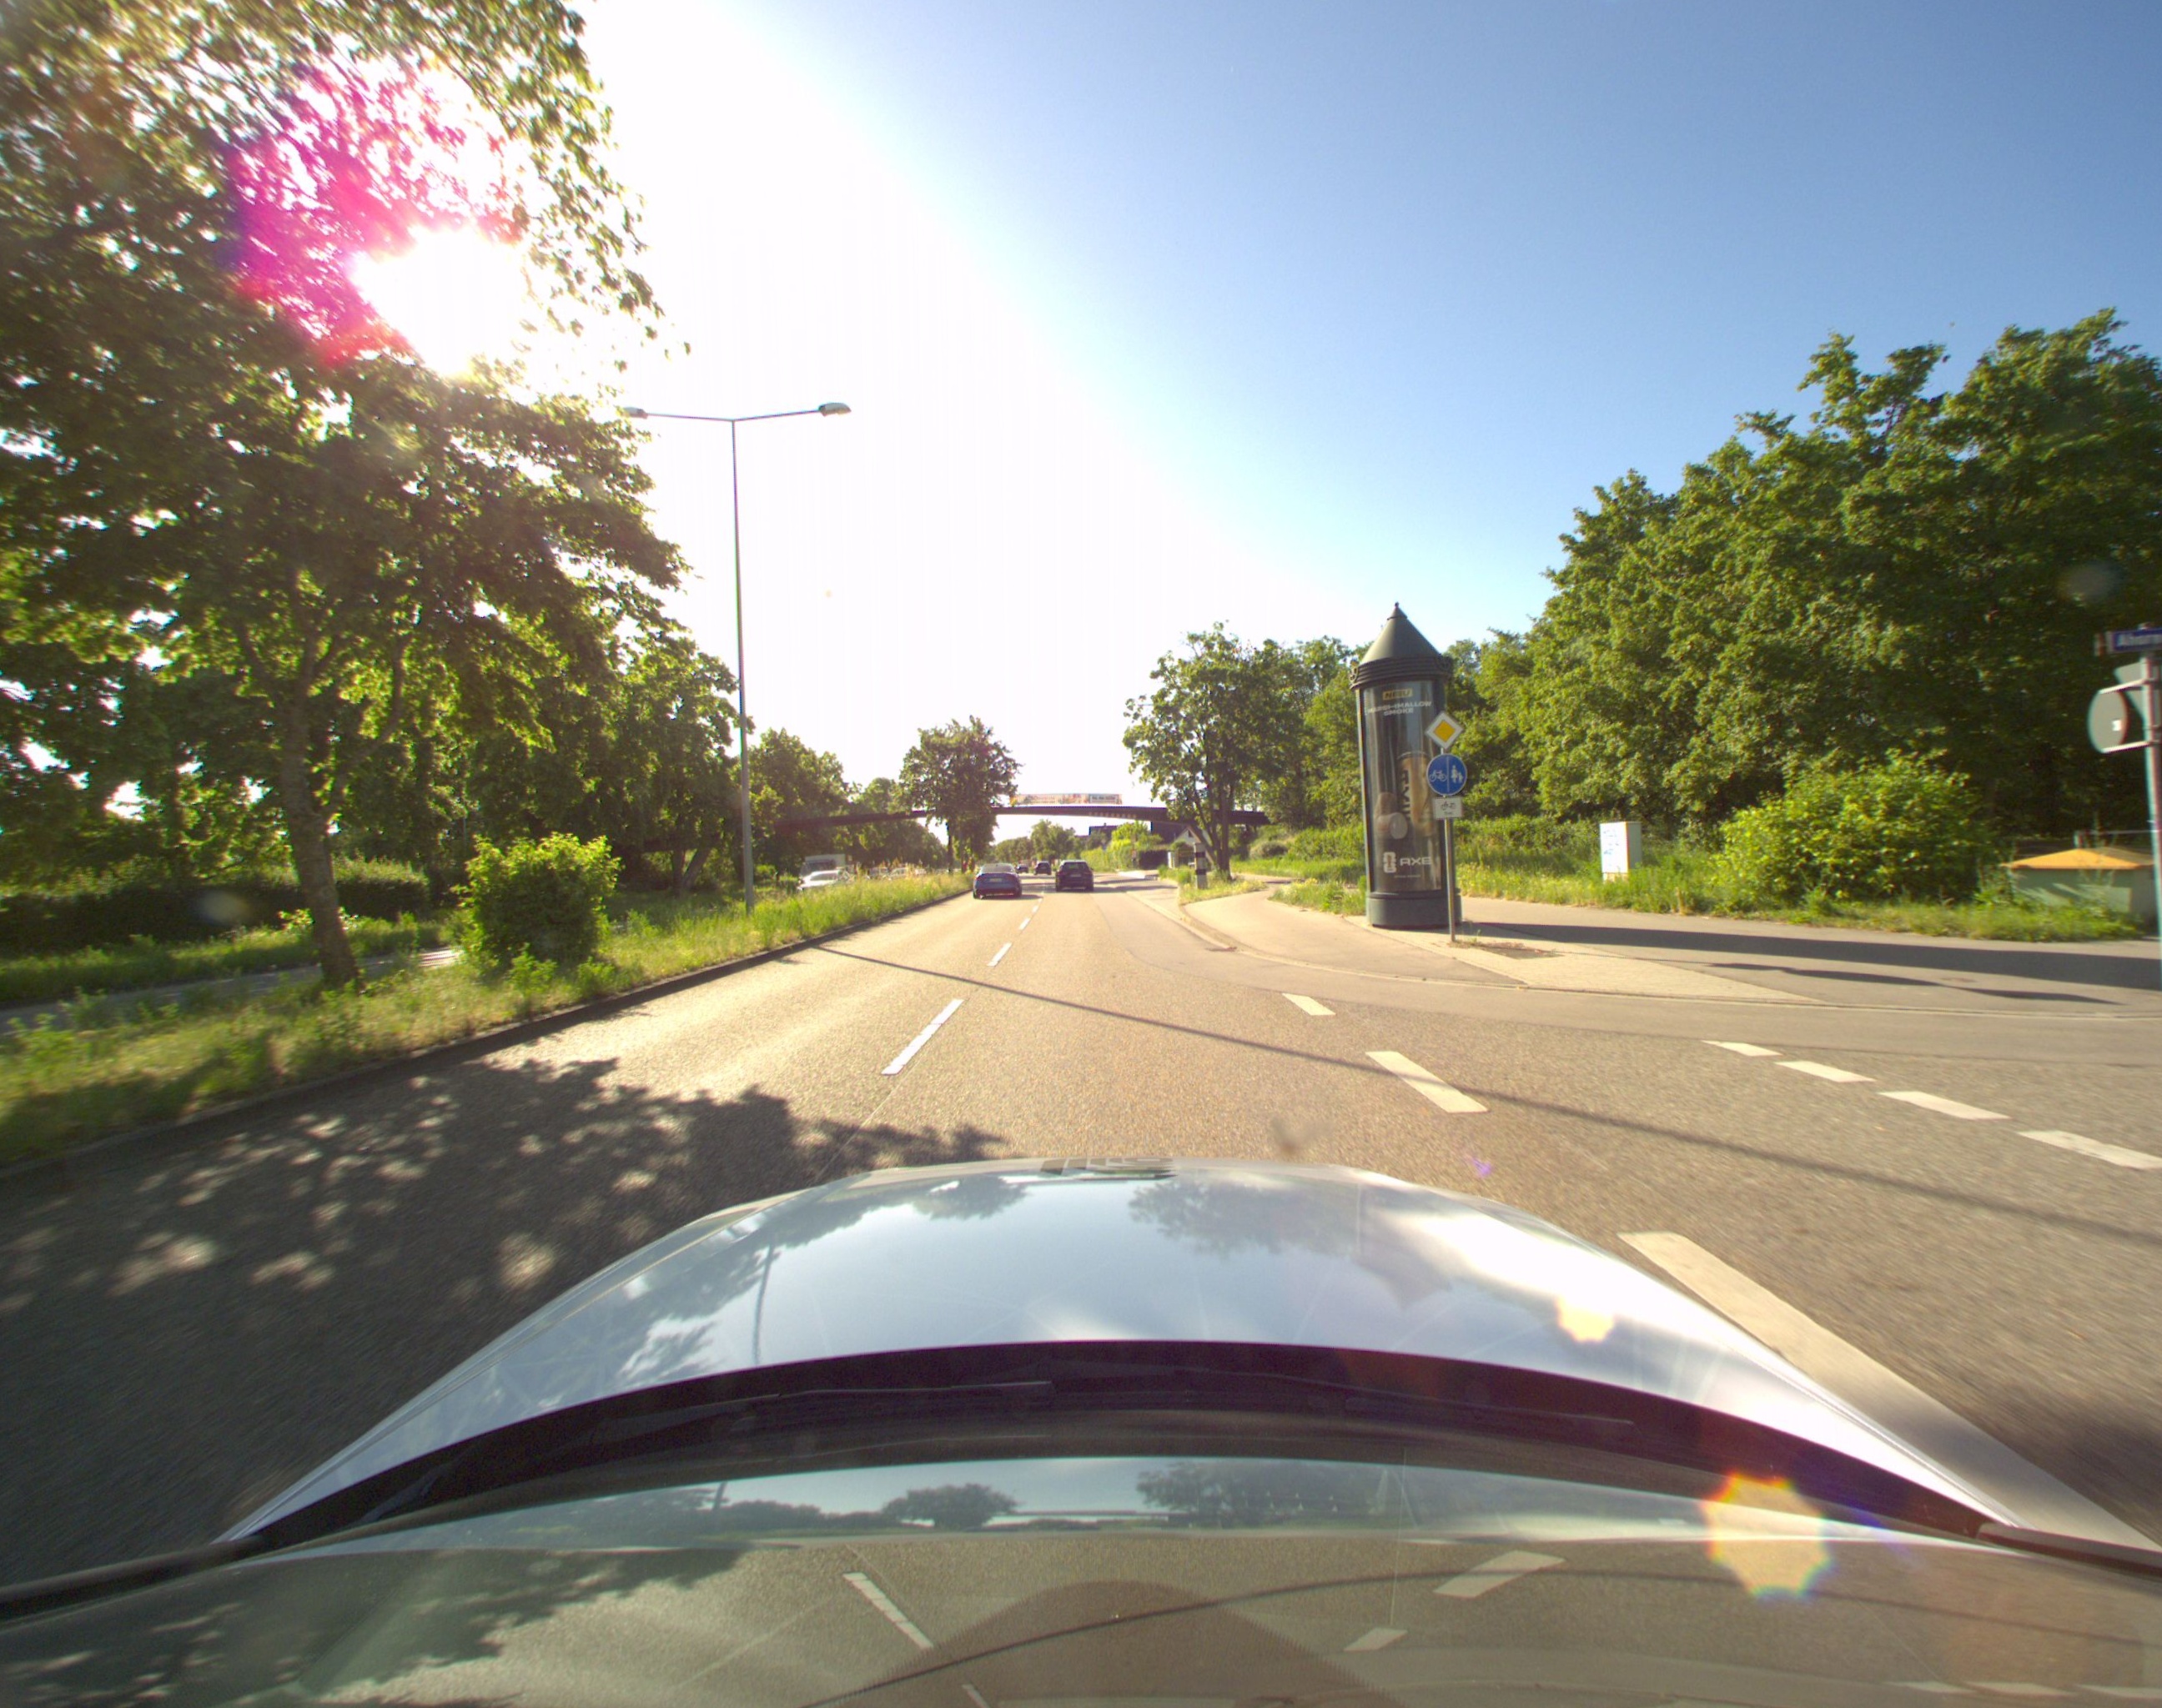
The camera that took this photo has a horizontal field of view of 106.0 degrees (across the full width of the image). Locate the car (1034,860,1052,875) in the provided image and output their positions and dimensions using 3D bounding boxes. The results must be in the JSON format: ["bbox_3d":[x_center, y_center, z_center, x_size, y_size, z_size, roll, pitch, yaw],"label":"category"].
[{"bbox_3d":[-4.192,1.444,90.008,1.741,1.597,4.167,-2,0,-5],"label":"car"}]

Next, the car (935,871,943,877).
[{"bbox_3d":[-37.698,5.269,215.537,1.807,1.500,4.575,-2,0,-13],"label":"car"}]

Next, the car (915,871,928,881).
[{"bbox_3d":[-26.671,3.689,136.107,1.537,1.431,4.248,-4,0,-5],"label":"car"}]

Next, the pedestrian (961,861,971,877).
[{"bbox_3d":[-12.508,1.619,88.544,0.625,1.696,0.948,-3,-1,22],"label":"pedestrian"}]

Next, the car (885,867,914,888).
[{"bbox_3d":[-14.841,1.927,66.762,1.692,1.582,4.019,-3,-2,-4],"label":"car"}]

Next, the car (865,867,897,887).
[{"bbox_3d":[-18.249,2.071,74.417,1.852,1.606,4.364,-4,0,-2],"label":"car"}]

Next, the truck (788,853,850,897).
[{"bbox_3d":[-16.830,1.321,52.641,2.167,2.512,5.737,-5,0,-2],"label":"truck"}]

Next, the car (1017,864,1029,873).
[{"bbox_3d":[-9.168,2.262,128.808,1.895,1.356,3.993,-2,0,-5],"label":"car"}]

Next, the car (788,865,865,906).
[{"bbox_3d":[-12.047,1.437,38.940,1.850,1.606,5.573,-4,0,0],"label":"car"}]

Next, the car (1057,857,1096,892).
[{"bbox_3d":[-0.277,0.978,39.130,1.756,1.559,3.996,-1,-1,-2],"label":"car"}]

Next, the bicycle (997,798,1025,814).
[{"bbox_3d":[-4.997,-3.401,57.945,1.985,1.107,0.726,-1,0,-5],"label":"bicycle"}]

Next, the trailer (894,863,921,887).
[{"bbox_3d":[-15.059,1.823,70.828,1.559,1.910,4.277,-2,0,-3],"label":"trailer"}]

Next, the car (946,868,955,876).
[{"bbox_3d":[-28.835,3.931,179.875,1.729,1.632,4.186,-3,-1,-8],"label":"car"}]

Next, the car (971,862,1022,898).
[{"bbox_3d":[-3.533,1.047,34.267,1.992,1.405,3.992,-1,0,-5],"label":"car"}]

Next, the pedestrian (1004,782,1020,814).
[{"bbox_3d":[-4.909,-3.978,57.960,1.064,2.124,0.995,-3,-1,-6],"label":"pedestrian"}]
